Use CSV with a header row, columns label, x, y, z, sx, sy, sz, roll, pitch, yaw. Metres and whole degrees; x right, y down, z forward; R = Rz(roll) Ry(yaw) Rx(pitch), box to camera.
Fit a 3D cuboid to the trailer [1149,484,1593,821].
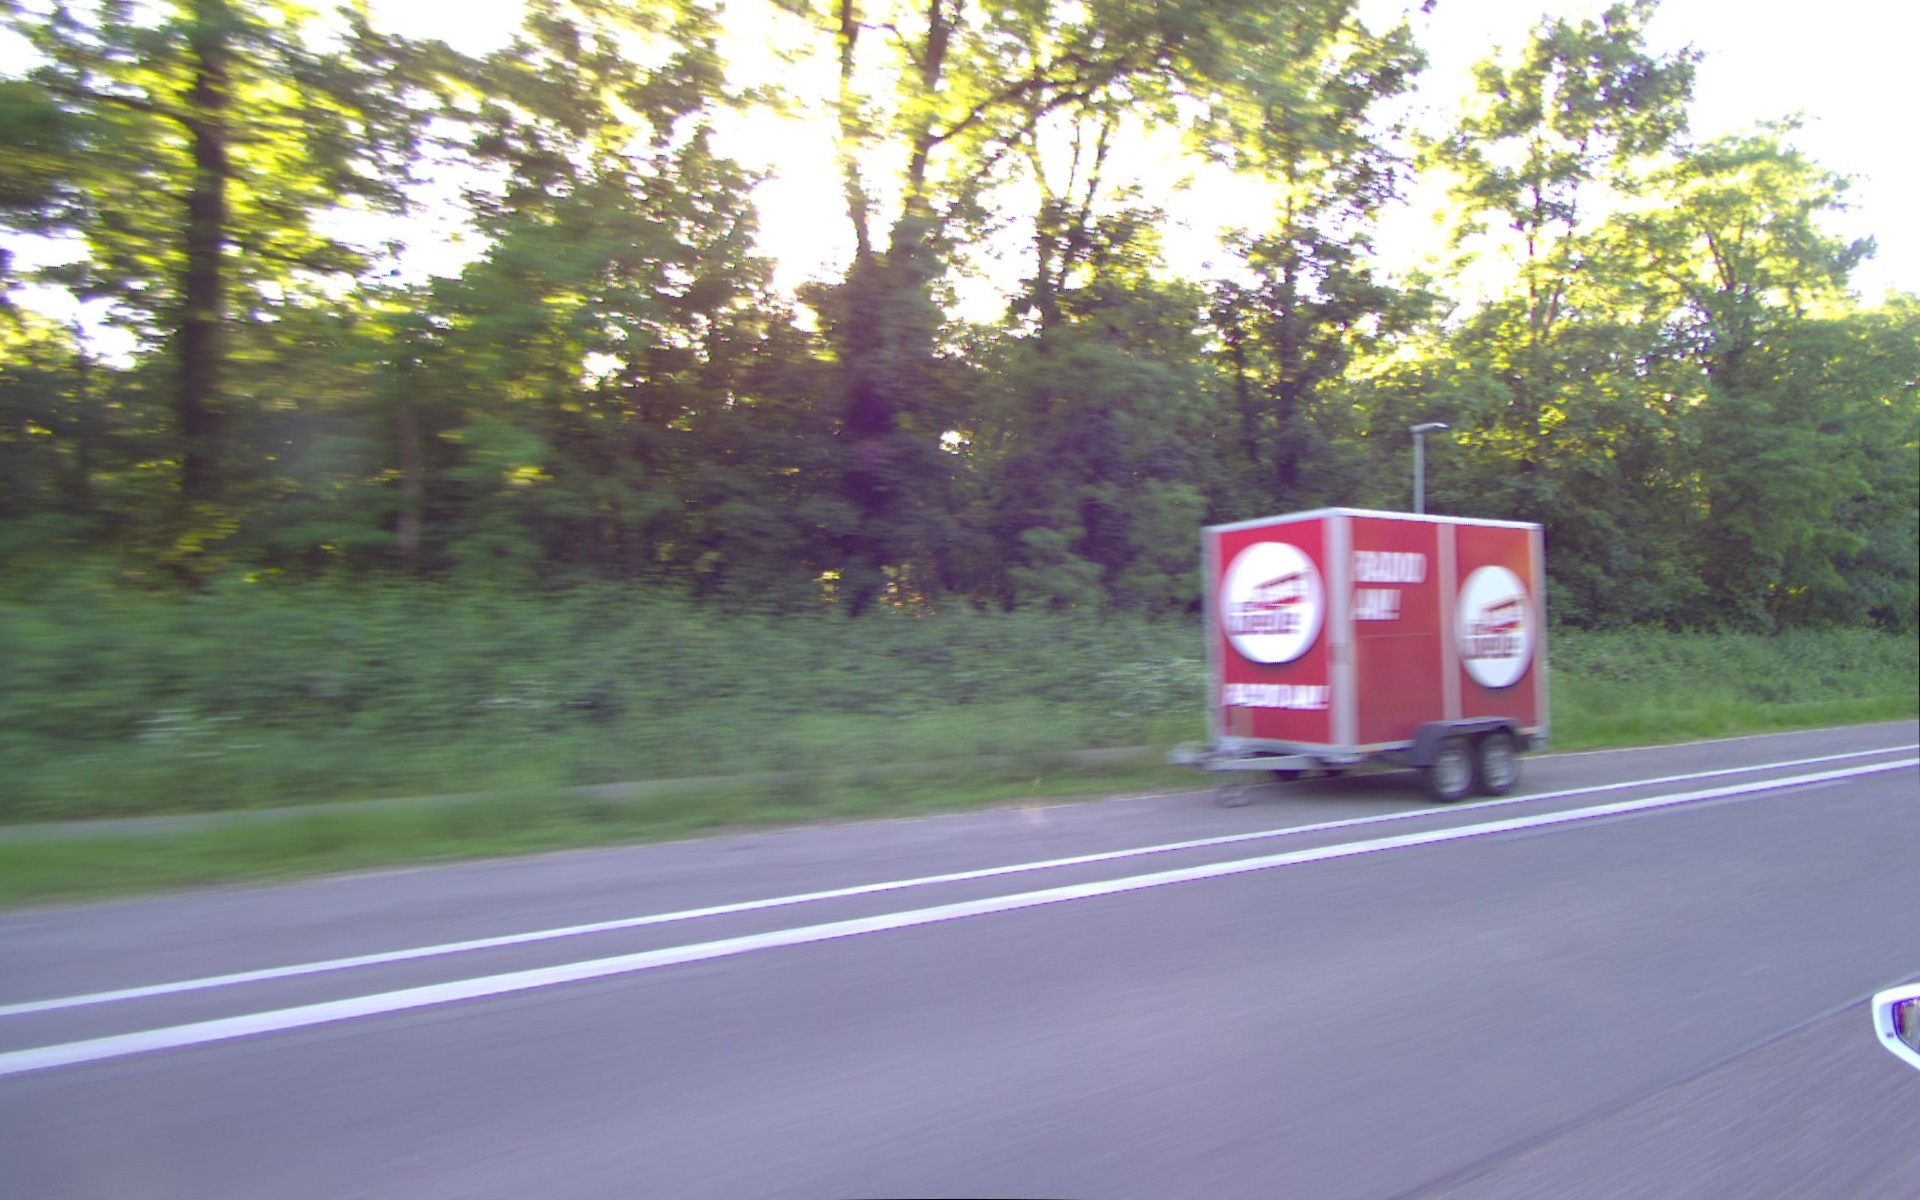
label,x,y,z,sx,sy,sz,roll,pitch,yaw
trailer,4.049,0.463,9.804,4.037,2.656,1.984,1,-1,-30
